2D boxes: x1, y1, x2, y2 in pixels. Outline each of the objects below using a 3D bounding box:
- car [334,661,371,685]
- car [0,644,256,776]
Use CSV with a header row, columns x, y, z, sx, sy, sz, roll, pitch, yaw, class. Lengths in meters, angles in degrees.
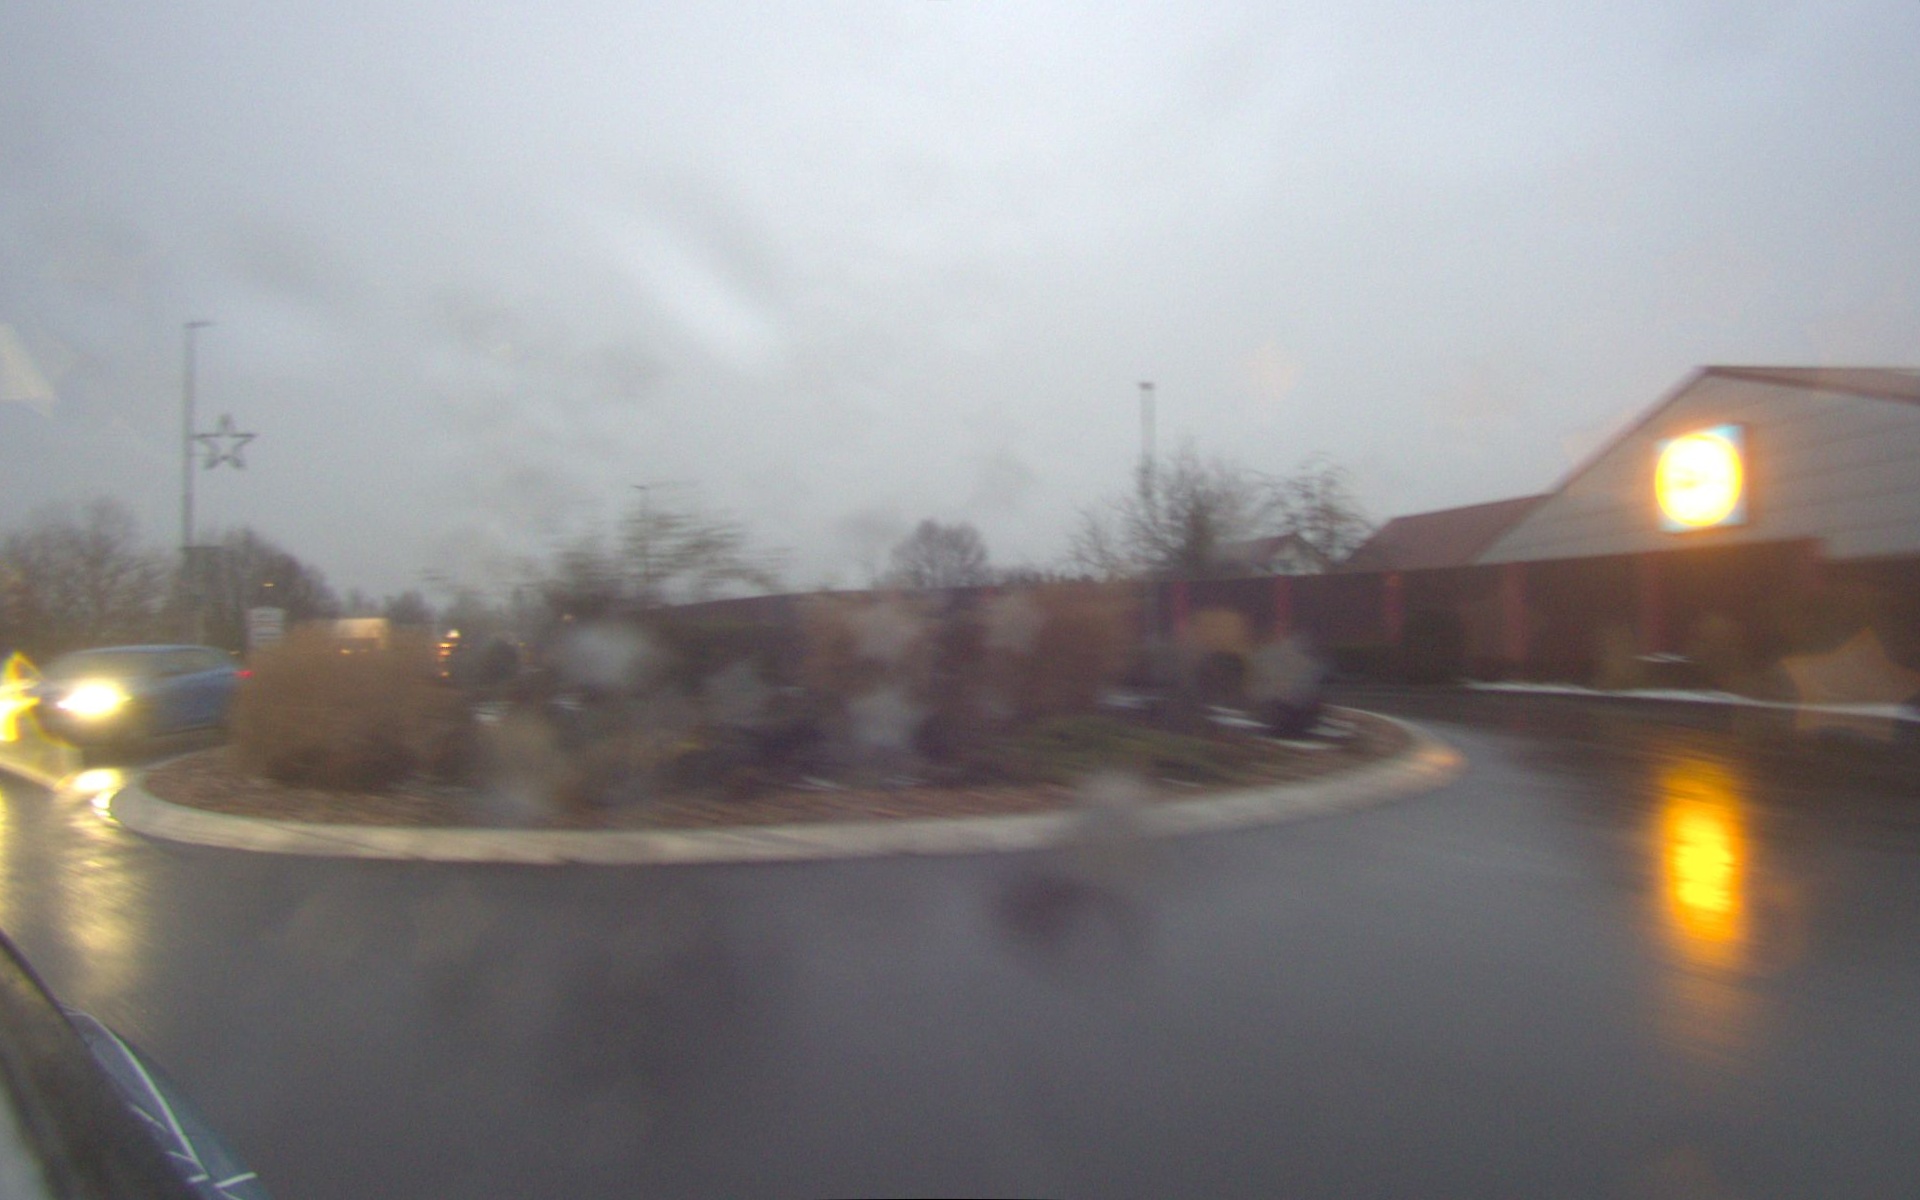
x,y,z,sx,sy,sz,roll,pitch,yaw,class
-66.796,7.982,111.210,2.247,2.458,5.244,3,-4,-44,car
-12.284,1.472,14.707,1.781,1.472,4.255,-1,0,-11,car
